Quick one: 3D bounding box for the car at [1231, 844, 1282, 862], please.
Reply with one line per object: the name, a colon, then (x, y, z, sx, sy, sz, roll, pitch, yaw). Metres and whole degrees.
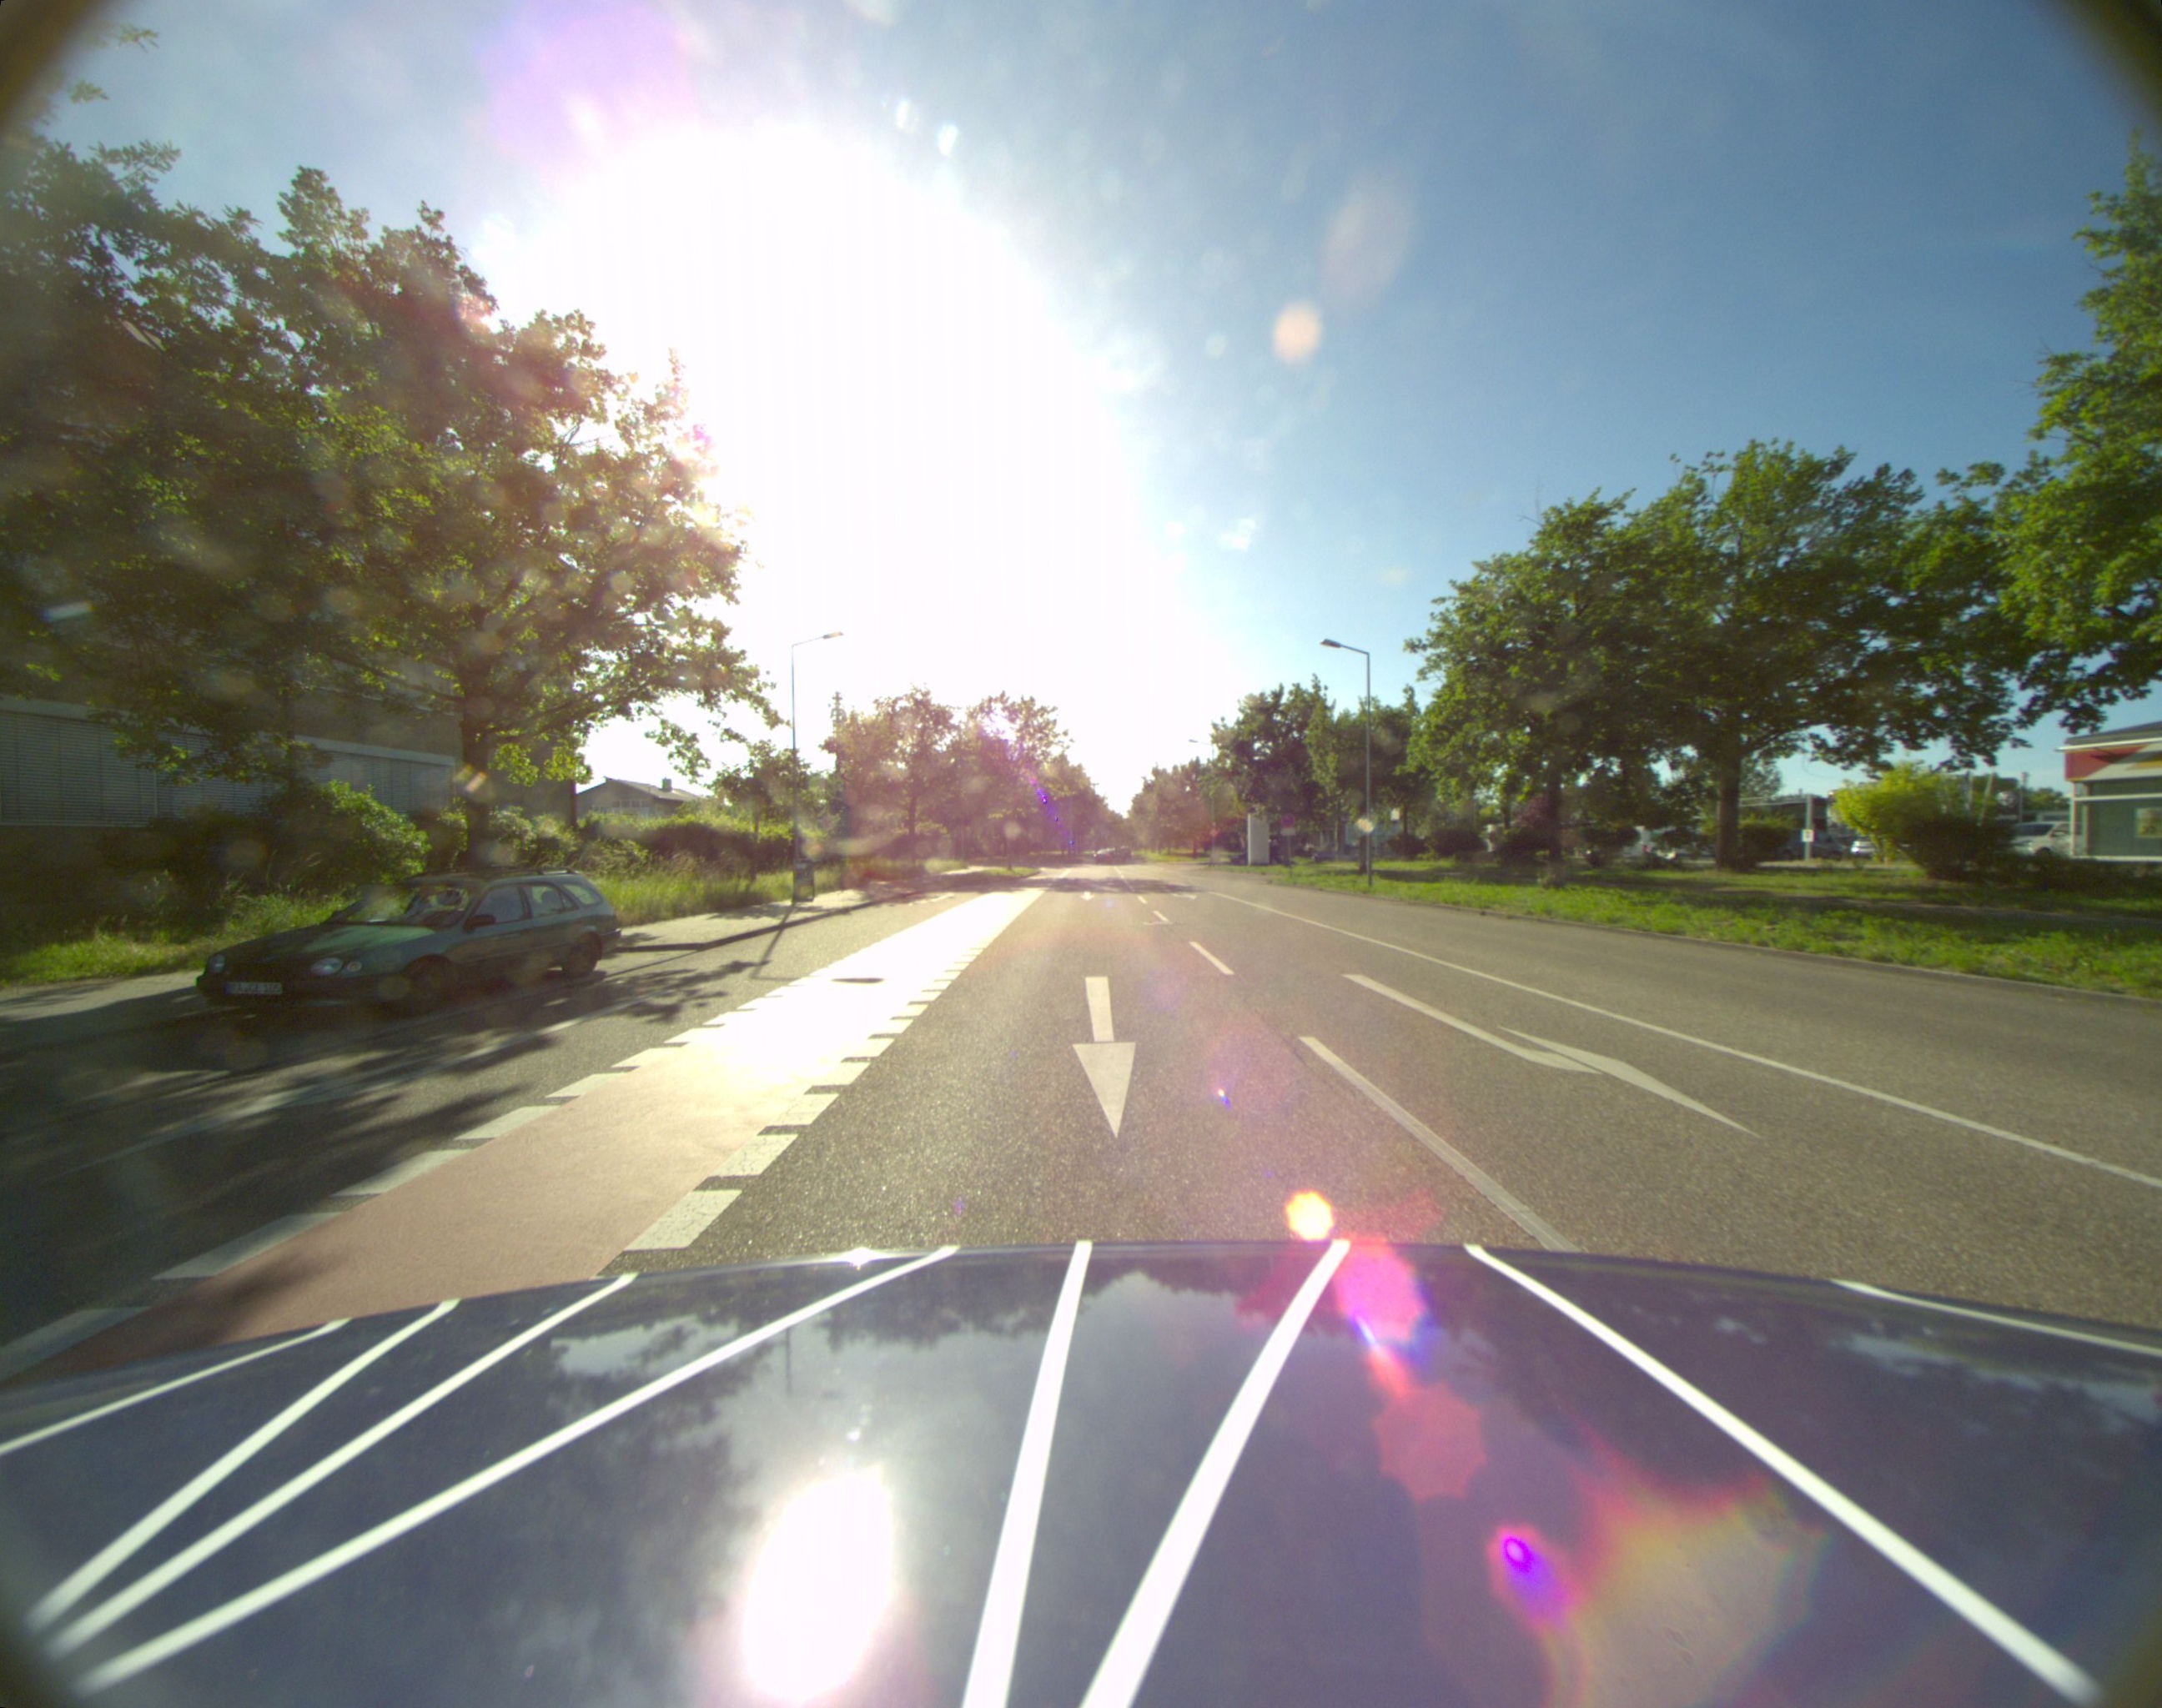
car: (15.462, -0.077, 67.173, 4.210, 1.477, 1.778, -1, 1, 6)

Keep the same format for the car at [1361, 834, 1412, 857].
car: (28.020, -0.786, 69.789, 3.994, 2.002, 2.001, -2, 1, 9)

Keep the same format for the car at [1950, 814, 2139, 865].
car: (34.026, -0.505, 26.924, 4.238, 1.578, 1.997, -2, 1, -1)

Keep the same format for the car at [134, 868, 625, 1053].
car: (-7.505, 0.990, 8.871, 1.776, 1.477, 4.214, 1, 1, 1)

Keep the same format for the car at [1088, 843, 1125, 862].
car: (2.320, -0.175, 68.889, 1.995, 1.674, 4.006, 0, 1, 23)

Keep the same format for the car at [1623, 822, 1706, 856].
car: (38.932, -0.970, 50.732, 4.212, 2.204, 1.777, -1, 1, -2)

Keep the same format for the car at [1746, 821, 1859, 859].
car: (40.451, -0.779, 42.658, 4.491, 1.934, 1.997, -2, 1, -1)
